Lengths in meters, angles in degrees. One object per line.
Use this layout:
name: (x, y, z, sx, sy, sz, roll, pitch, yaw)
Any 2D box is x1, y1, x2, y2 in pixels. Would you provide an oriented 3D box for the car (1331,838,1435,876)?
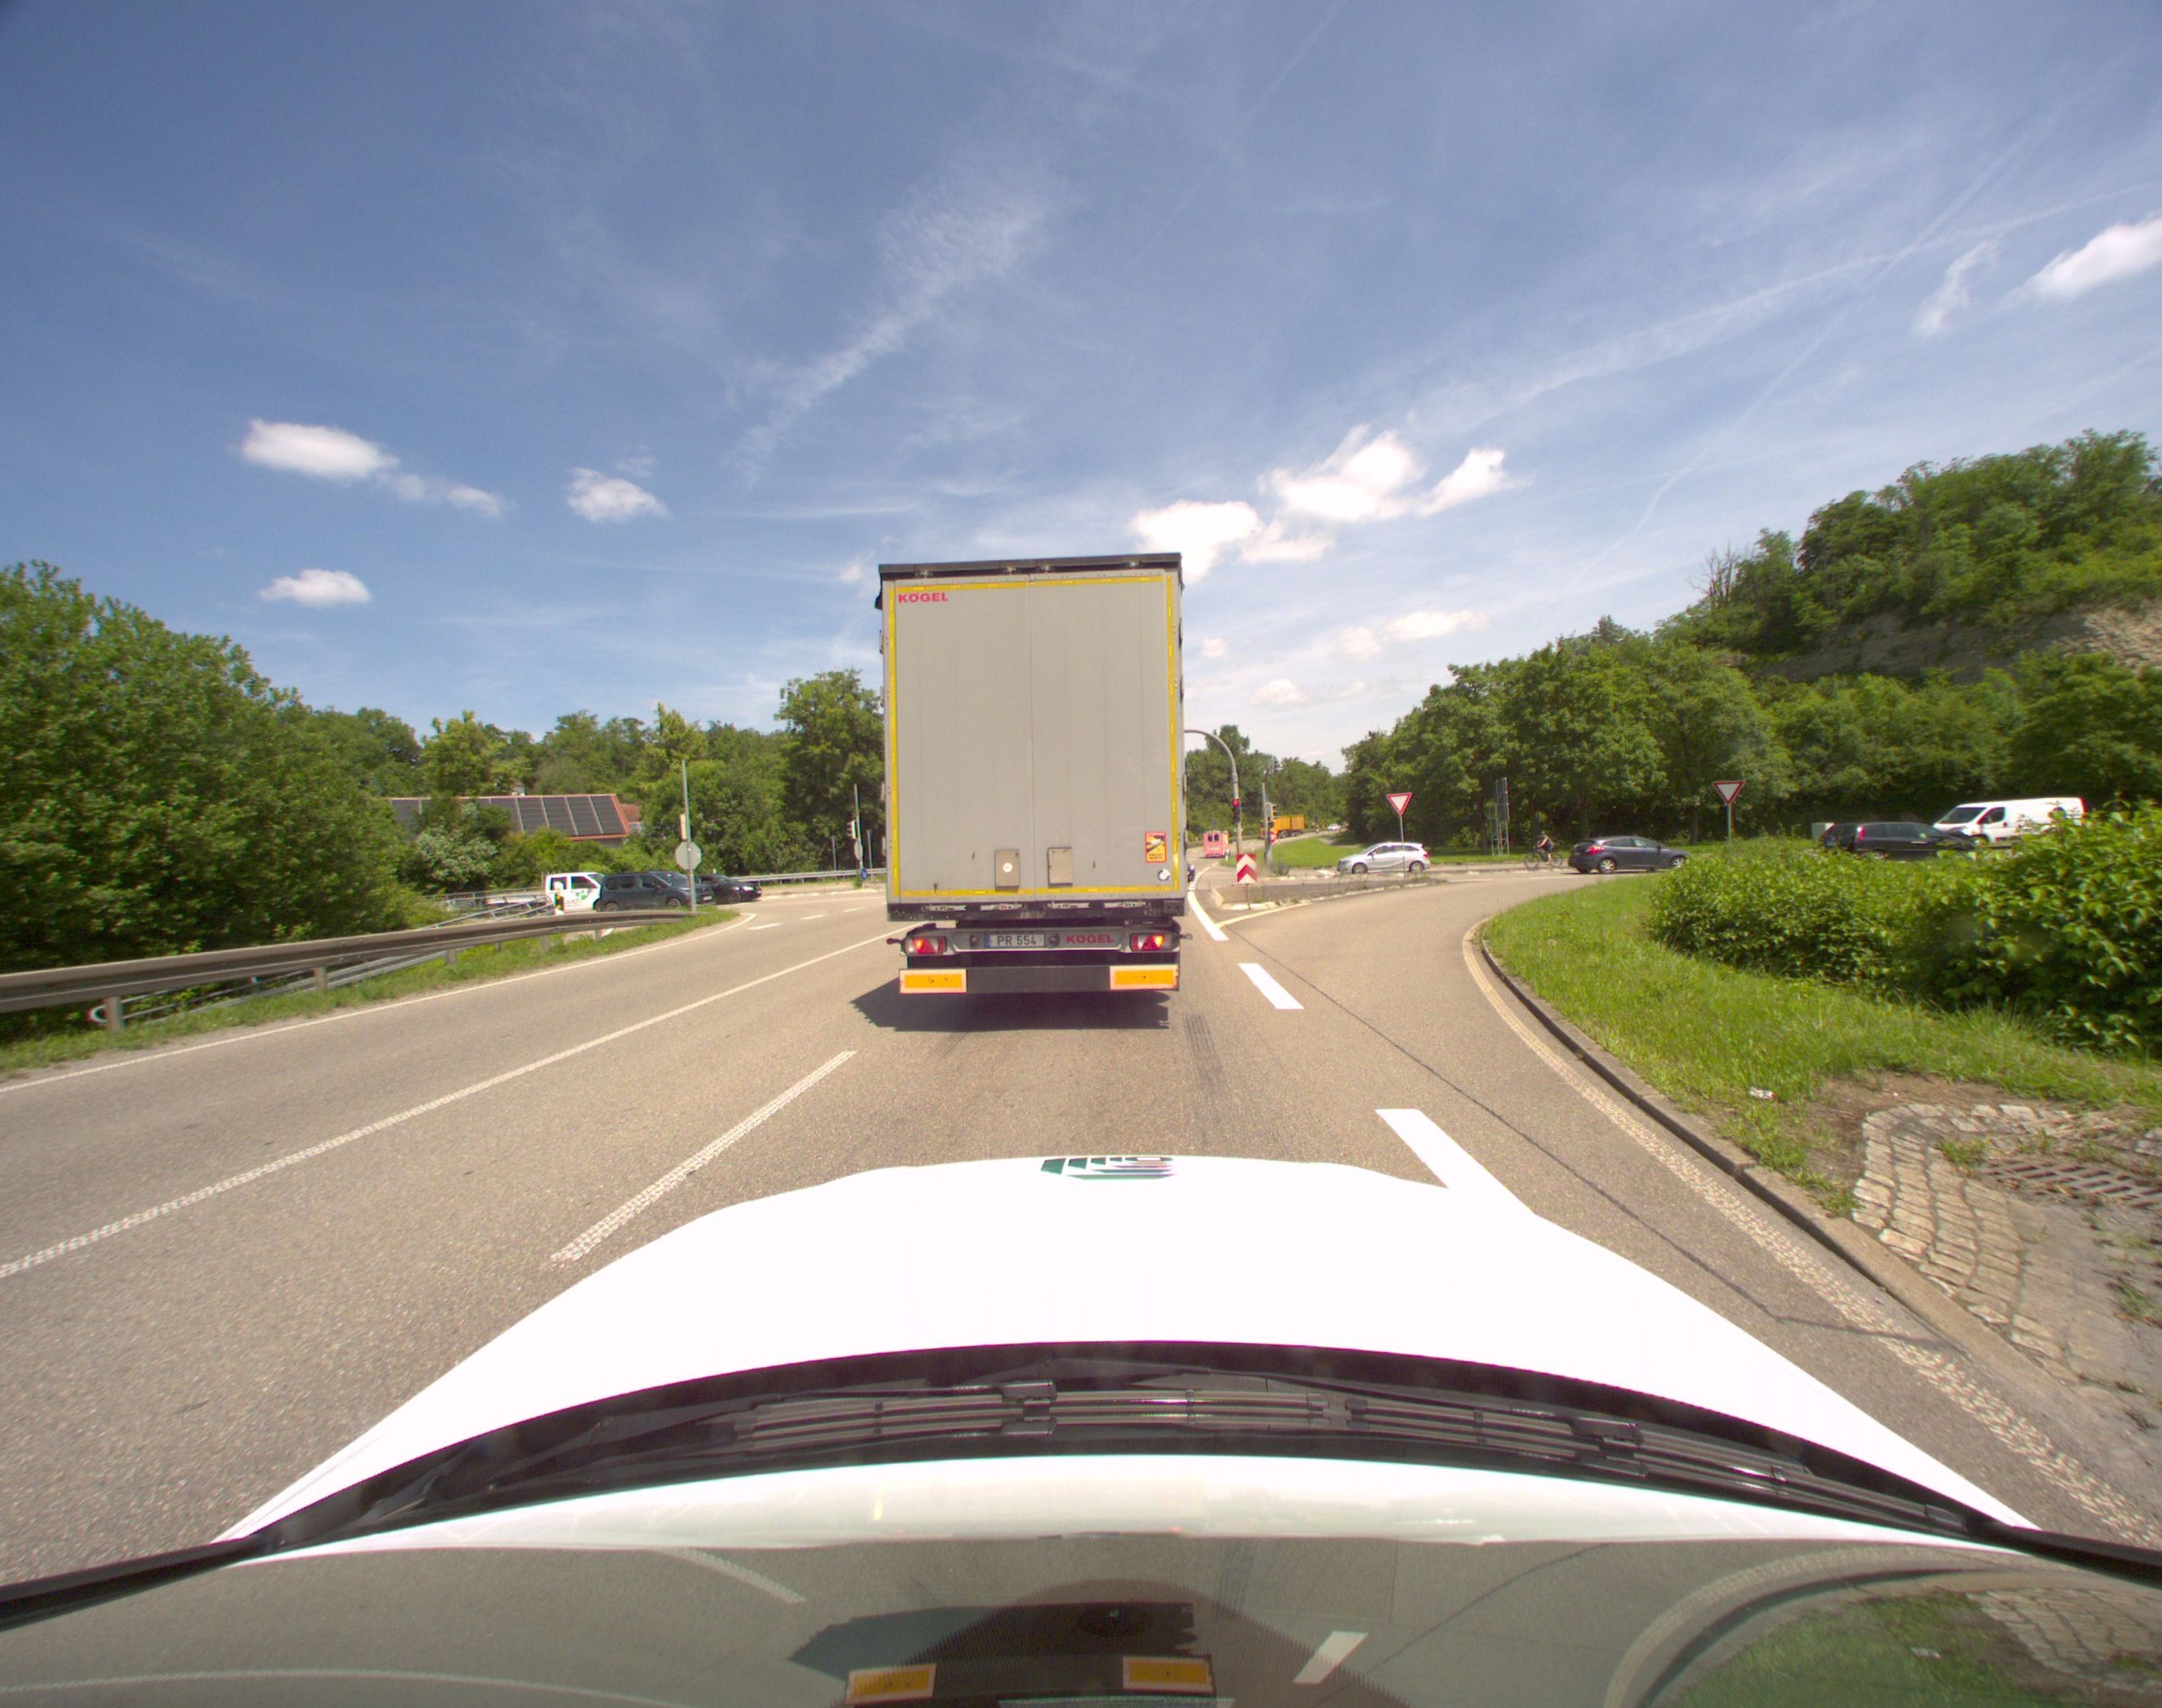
car: (14.728, 0.178, 39.940, 4.405, 1.718, 2.003, -1, -2, 6)

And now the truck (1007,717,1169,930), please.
truck: (0.350, -0.581, 19.046, 3.025, 4.034, 6.636, -2, 0, 4)

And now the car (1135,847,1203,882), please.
car: (4.184, 0.544, 39.321, 1.879, 1.613, 3.835, 0, -2, -17)

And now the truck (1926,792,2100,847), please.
truck: (43.179, -1.562, 37.884, 5.112, 2.296, 2.006, -1, -2, 11)

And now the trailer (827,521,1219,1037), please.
trailer: (-0.068, -0.584, 12.796, 3.038, 4.034, 12.571, -2, 0, 4)

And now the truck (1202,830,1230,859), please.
truck: (13.955, -0.899, 83.871, 2.476, 2.728, 6.051, -1, -2, 13)

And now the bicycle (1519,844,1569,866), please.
bicycle: (22.444, 0.047, 39.491, 1.983, 0.995, 0.797, -1, -2, -1)

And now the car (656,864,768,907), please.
car: (-16.723, 1.396, 37.004, 4.206, 1.770, 2.006, -2, -1, 11)

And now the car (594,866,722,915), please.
car: (-17.022, 1.456, 32.874, 4.206, 1.770, 2.006, -2, -1, 11)

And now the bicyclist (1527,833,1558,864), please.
bicyclist: (22.365, -0.248, 39.480, 1.002, 1.448, 0.795, -1, -2, -1)

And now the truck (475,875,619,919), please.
truck: (-23.558, 1.886, 36.117, 4.877, 1.791, 2.036, 0, -2, -11)

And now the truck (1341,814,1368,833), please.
truck: (60.696, -6.709, 180.465, 3.148, 4.028, 11.820, -3, 0, 30)

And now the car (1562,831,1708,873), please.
car: (21.397, -0.052, 31.612, 4.222, 1.491, 2.003, -1, -2, 6)

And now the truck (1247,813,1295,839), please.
truck: (34.720, -5.120, 148.254, 4.963, 4.362, 11.841, -1, 1, 32)

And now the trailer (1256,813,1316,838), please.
trailer: (39.587, -5.431, 156.159, 4.963, 4.362, 20.972, -1, 1, 32)

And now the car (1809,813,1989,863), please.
car: (31.821, -0.594, 31.799, 4.908, 1.785, 2.000, -1, -2, 1)

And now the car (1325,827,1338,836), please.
car: (55.252, -4.957, 179.509, 1.975, 2.013, 4.024, -2, 0, 28)
